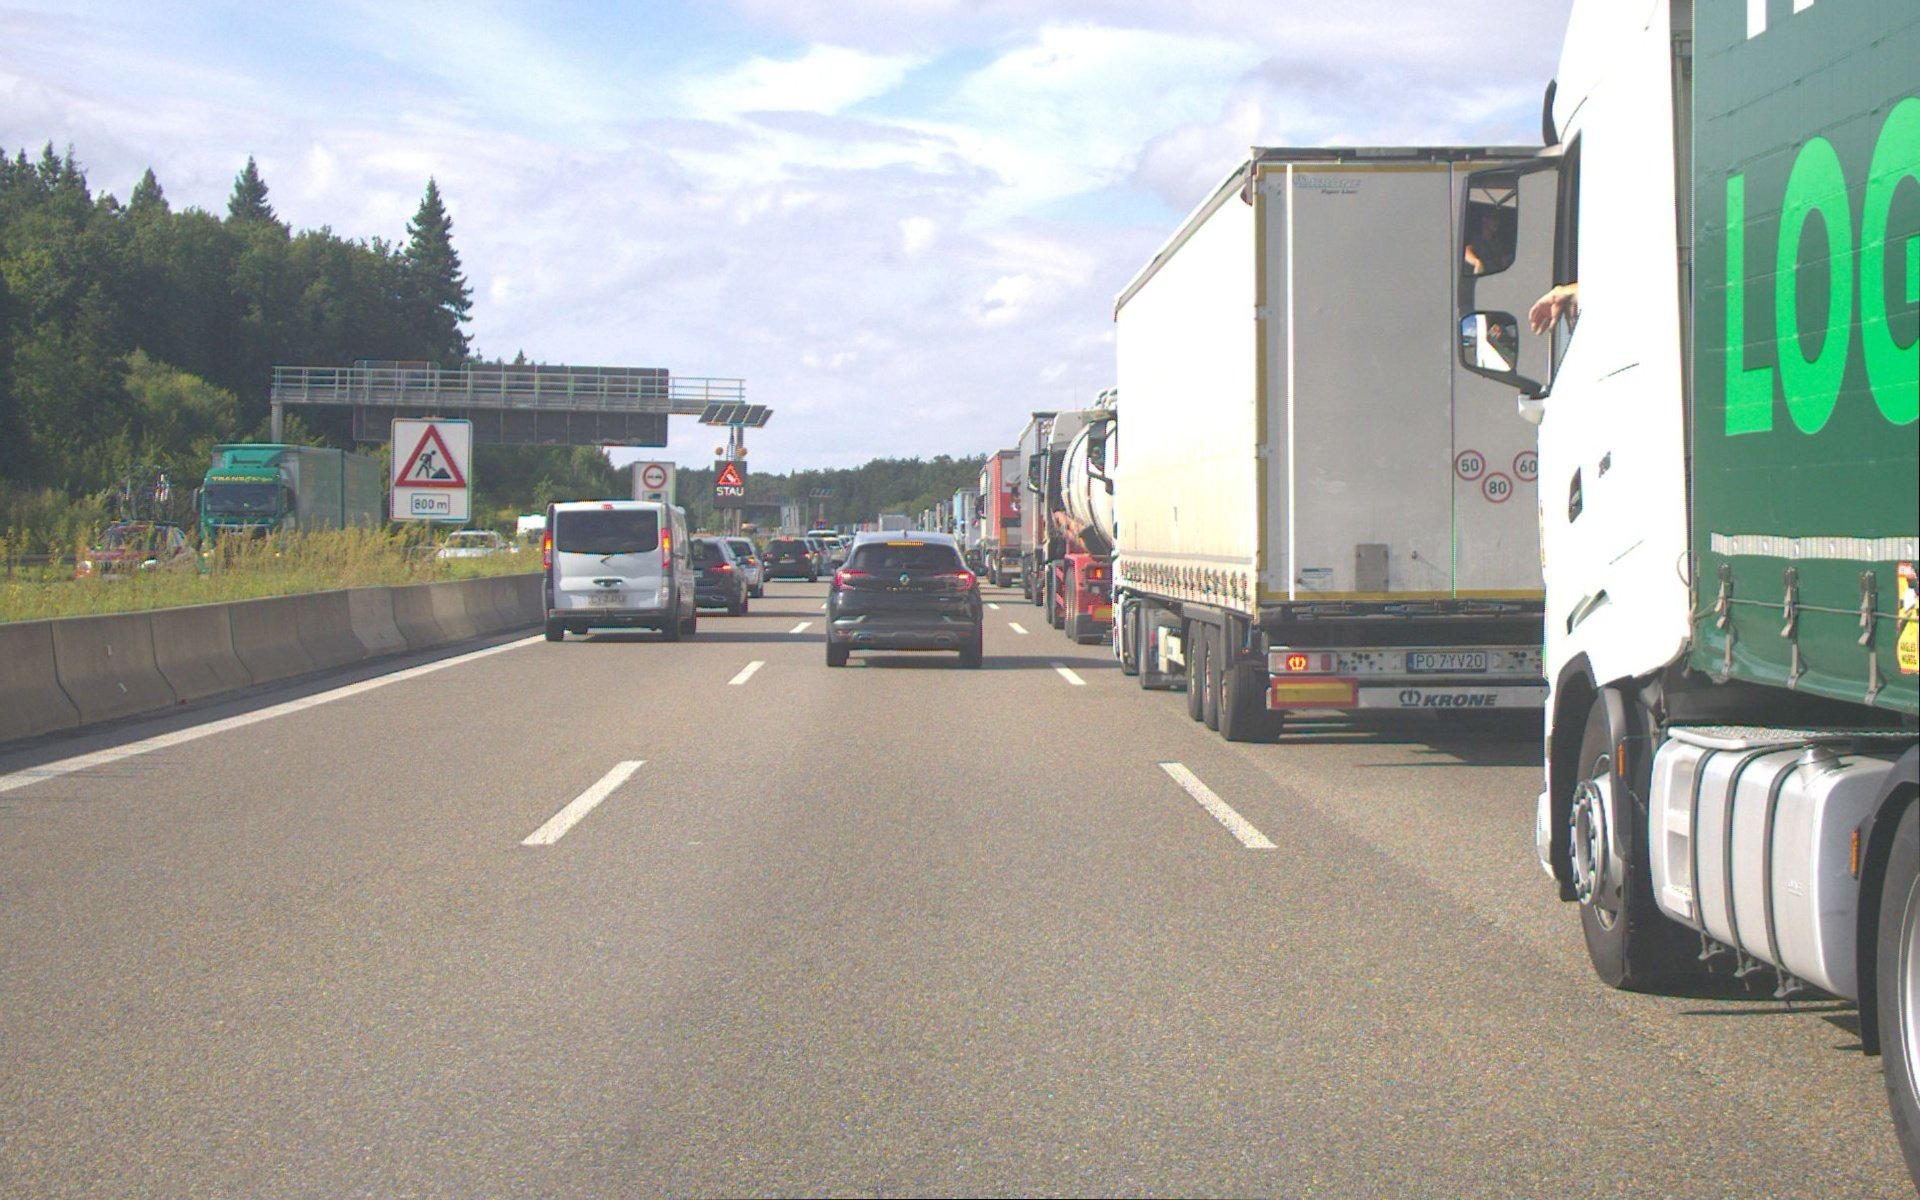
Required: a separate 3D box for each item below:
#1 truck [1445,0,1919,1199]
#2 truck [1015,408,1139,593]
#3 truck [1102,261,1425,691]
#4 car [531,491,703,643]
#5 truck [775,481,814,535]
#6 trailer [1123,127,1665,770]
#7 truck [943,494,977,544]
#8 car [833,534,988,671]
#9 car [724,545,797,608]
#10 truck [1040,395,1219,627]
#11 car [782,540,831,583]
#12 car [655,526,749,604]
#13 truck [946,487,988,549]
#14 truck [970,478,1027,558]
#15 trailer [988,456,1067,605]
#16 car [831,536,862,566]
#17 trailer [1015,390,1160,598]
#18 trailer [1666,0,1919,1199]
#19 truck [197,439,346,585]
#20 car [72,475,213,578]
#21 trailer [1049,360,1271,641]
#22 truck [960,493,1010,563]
[{"bbox_3d":[3.308,-0.565,10.183,2.647,3.855,6.996,1,1,0],"label":"truck"},{"bbox_3d":[2.731,-2.318,82.153,2.786,4.232,6.459,0,1,0],"label":"truck"},{"bbox_3d":[2.990,-1.205,35.561,2.708,4.046,6.362,0,1,0],"label":"truck"},{"bbox_3d":[-4.922,-0.487,49.957,1.933,1.972,5.099,4,1,-1],"label":"car"},{"bbox_3d":[-11.651,-6.432,242.439,2.344,3.582,6.306,4,1,-1],"label":"truck"},{"bbox_3d":[3.054,-1.085,28.236,2.703,4.068,12.945,0,1,0],"label":"trailer"},{"bbox_3d":[0.000,-5.210,222.605,1.993,3.042,4.981,4,1,0],"label":"truck"},{"bbox_3d":[-0.577,-0.013,40.438,1.696,1.478,4.160,1,1,-1],"label":"car"},{"bbox_3d":[-4.780,-0.566,82.549,1.500,1.391,3.476,4,1,-1],"label":"car"},{"bbox_3d":[2.706,-1.427,56.715,2.533,3.571,6.730,0,1,-1],"label":"truck"},{"bbox_3d":[-5.031,-1.277,113.049,1.434,1.305,3.533,4,1,-1],"label":"car"},{"bbox_3d":[-4.768,-0.657,63.788,1.500,1.391,3.476,-1,1,-1],"label":"car"},{"bbox_3d":[0.348,-4.242,179.016,1.993,3.042,4.981,4,1,0],"label":"truck"},{"bbox_3d":[1.467,-3.164,133.101,1.993,2.922,4.981,4,1,0],"label":"truck"},{"bbox_3d":[1.964,-2.037,102.442,2.150,4.244,8.440,1,1,0],"label":"trailer"},{"bbox_3d":[-5.380,-2.327,163.116,1.361,1.296,3.085,4,1,-1],"label":"car"},{"bbox_3d":[2.685,-2.231,75.407,2.802,4.229,11.057,0,1,0],"label":"trailer"},{"bbox_3d":[3.367,-0.455,2.833,2.661,3.855,13.395,1,1,0],"label":"trailer"},{"bbox_3d":[-20.954,-2.629,105.256,2.711,4.229,10.345,0,1,-1],"label":"truck"},{"bbox_3d":[-16.171,-1.444,68.183,1.760,1.875,4.000,4,1,-1],"label":"car"},{"bbox_3d":[2.740,-1.366,50.079,2.541,3.641,10.627,0,1,0],"label":"trailer"},{"bbox_3d":[1.098,-3.159,152.331,1.993,2.922,4.981,3,1,0],"label":"truck"}]
